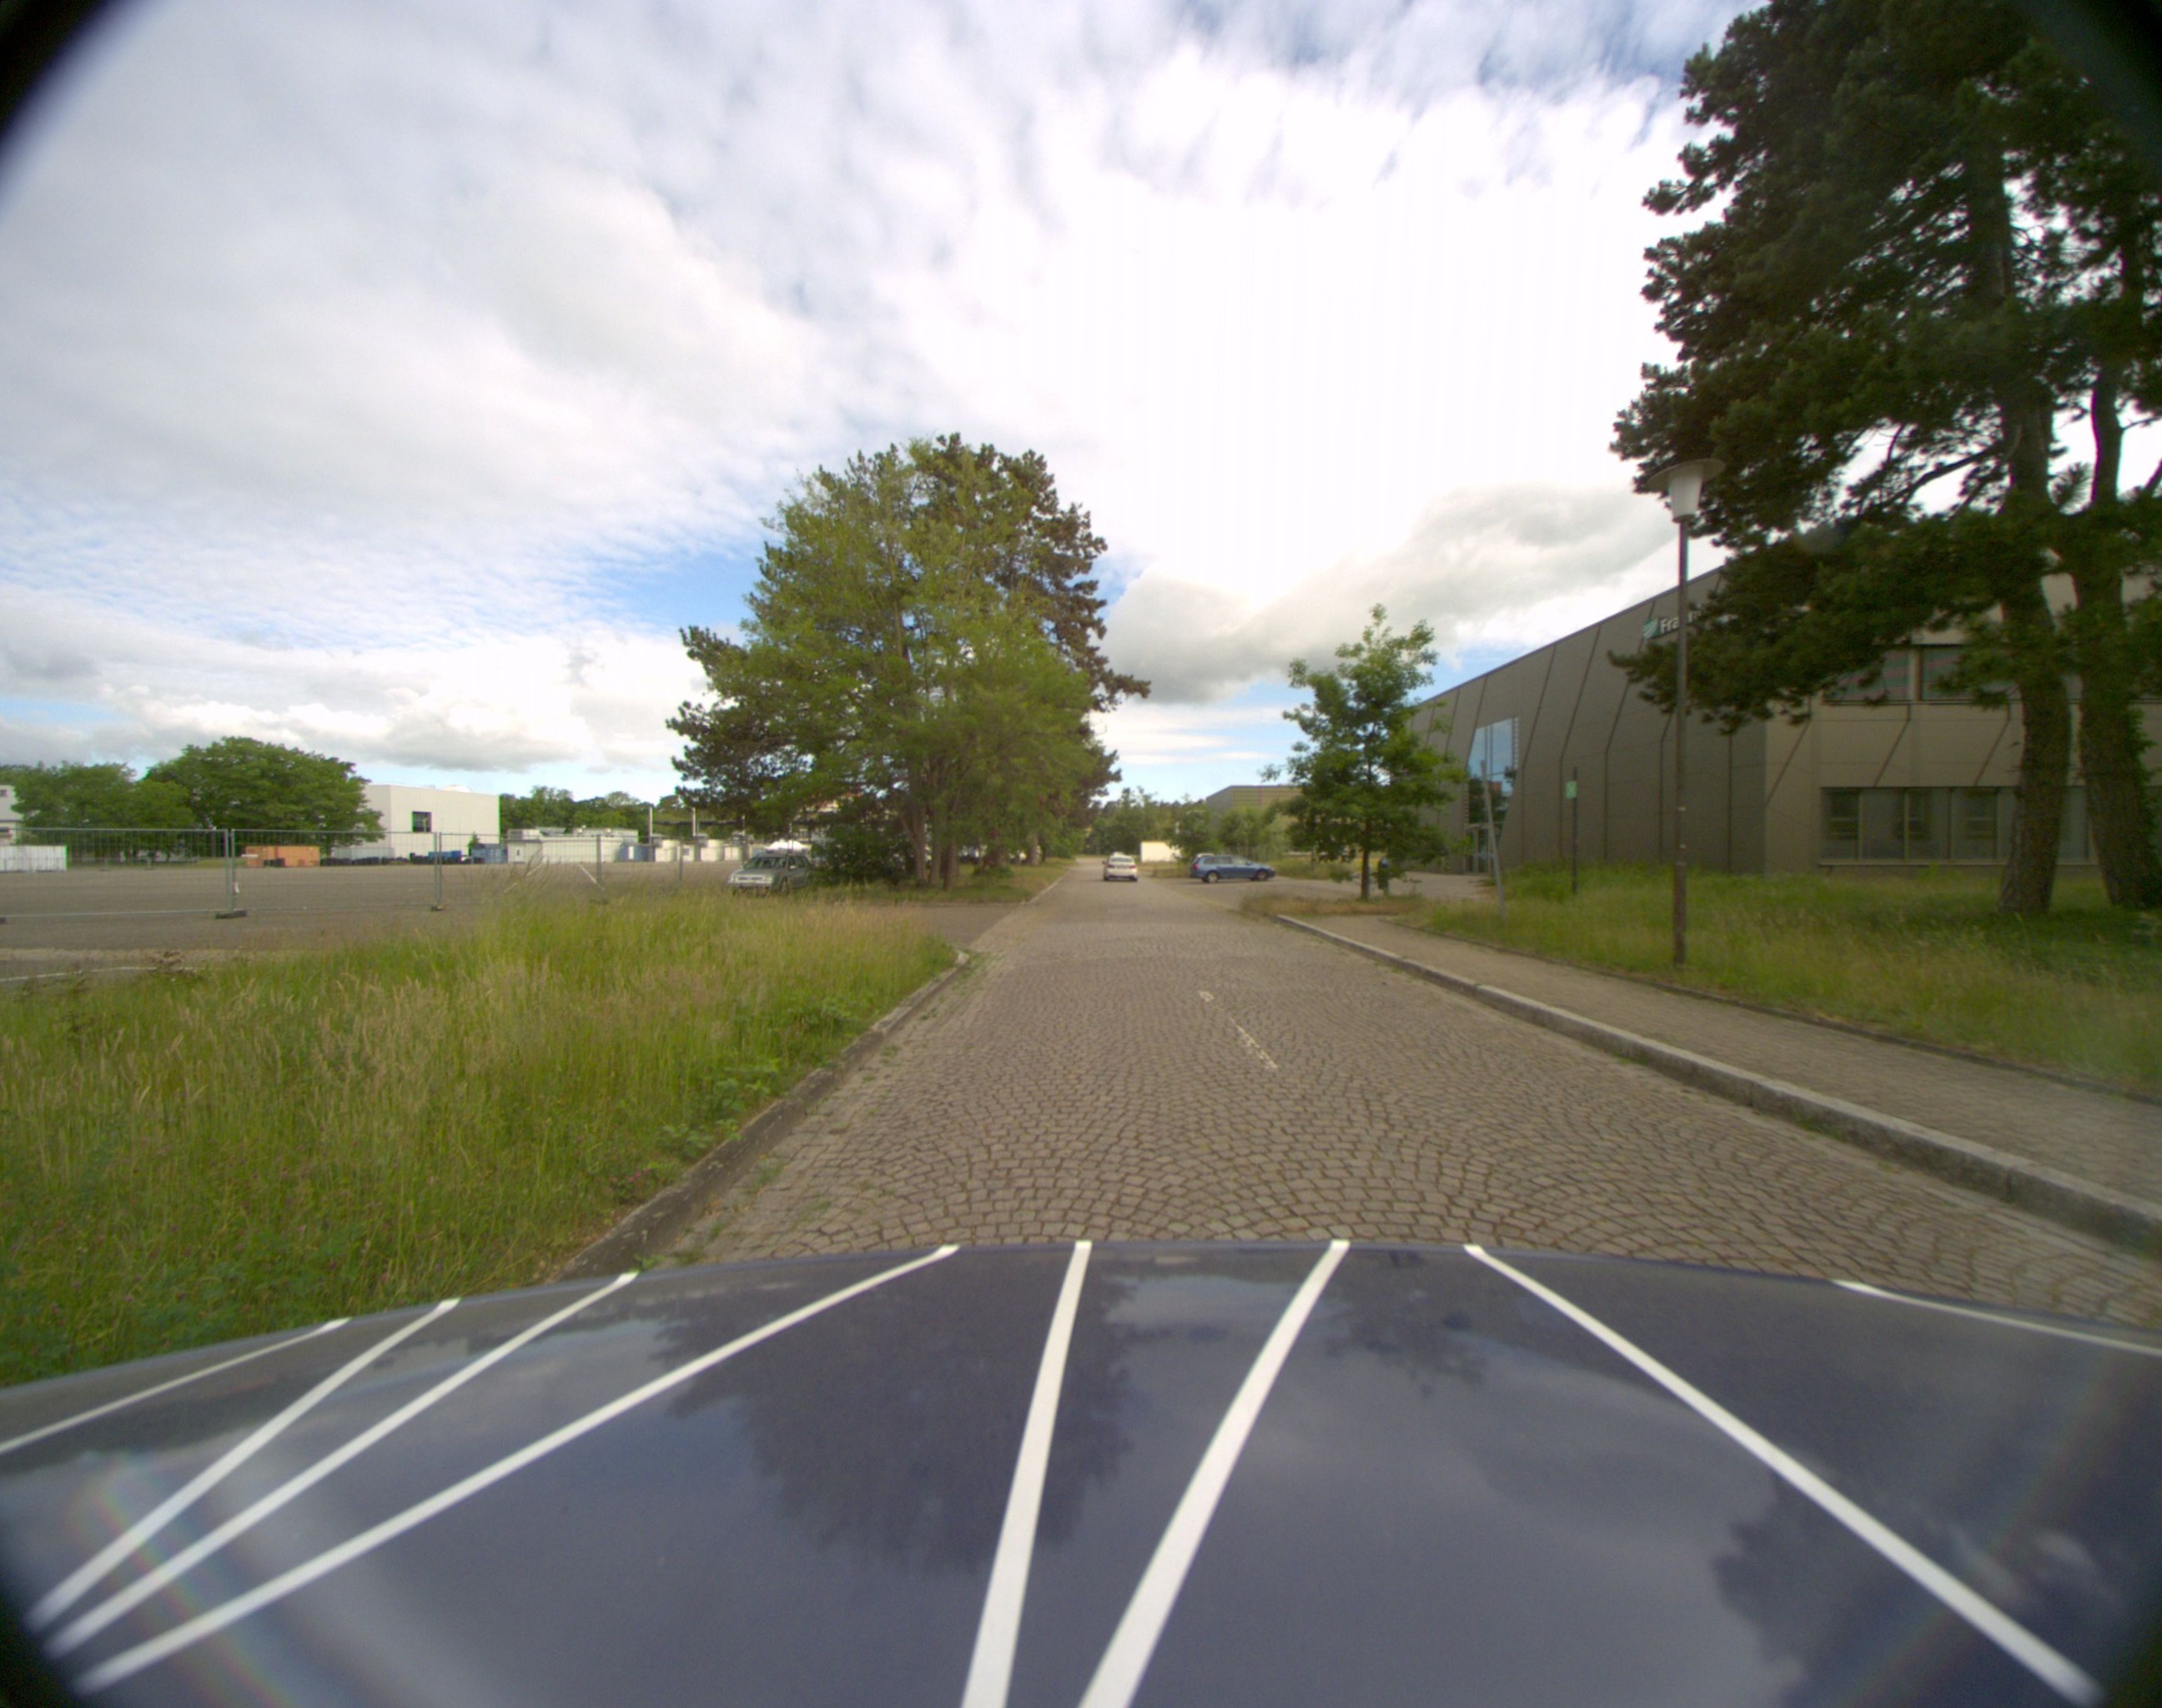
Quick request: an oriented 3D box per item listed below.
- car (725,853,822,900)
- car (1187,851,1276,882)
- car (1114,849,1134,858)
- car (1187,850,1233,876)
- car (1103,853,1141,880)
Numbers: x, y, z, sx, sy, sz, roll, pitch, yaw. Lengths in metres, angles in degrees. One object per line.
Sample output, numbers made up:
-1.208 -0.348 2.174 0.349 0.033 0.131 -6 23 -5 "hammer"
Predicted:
-10.628 0.709 26.619 1.678 1.442 4.488 -1 1 -2 "car"
8.039 0.657 40.827 4.426 1.461 1.633 -2 1 -2 "car"
9.061 -0.085 160.626 4.062 1.768 1.792 -1 1 0 "car"
8.158 0.568 48.195 2.584 1.521 1.500 -2 1 -1 "car"
2.265 0.657 42.879 1.778 1.430 4.217 1 0 -2 "car"
